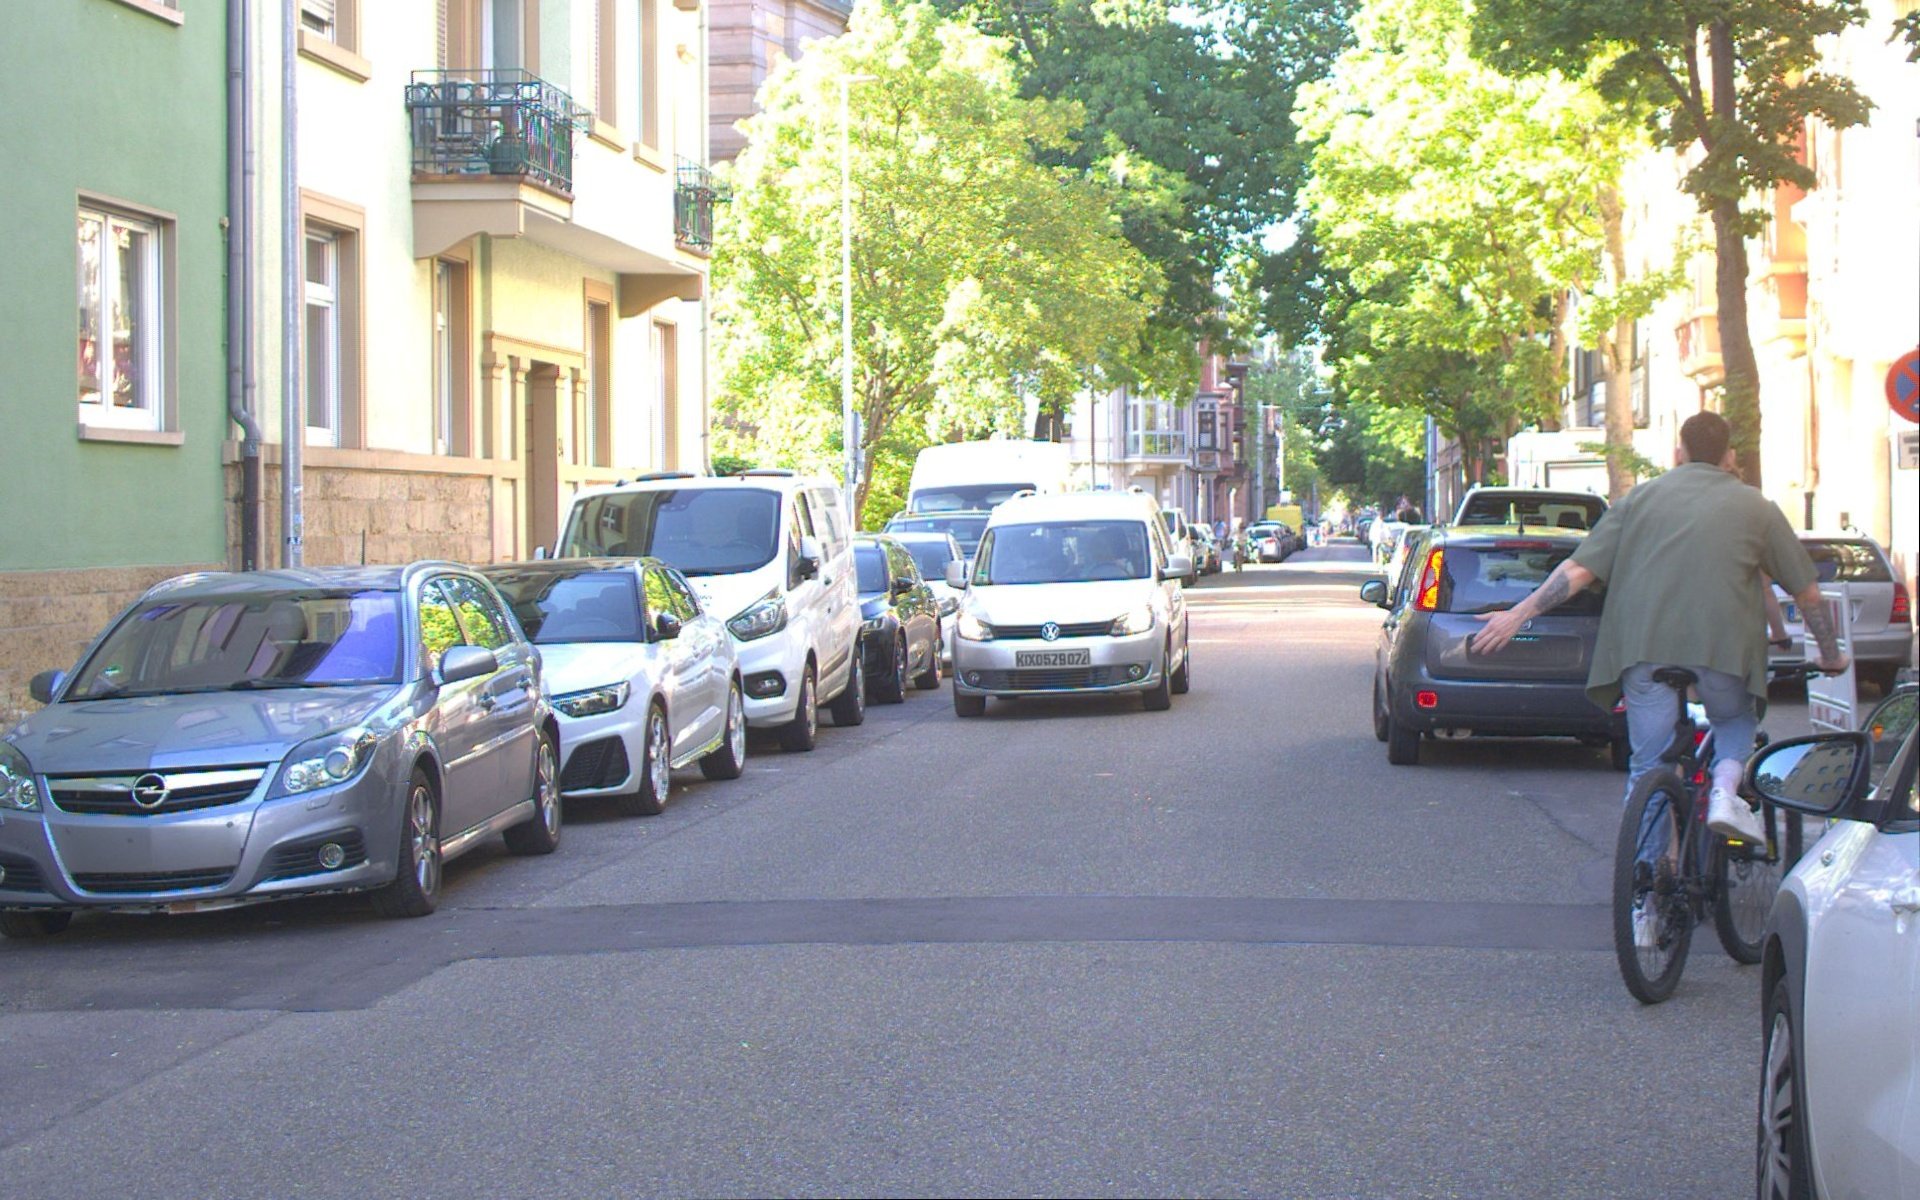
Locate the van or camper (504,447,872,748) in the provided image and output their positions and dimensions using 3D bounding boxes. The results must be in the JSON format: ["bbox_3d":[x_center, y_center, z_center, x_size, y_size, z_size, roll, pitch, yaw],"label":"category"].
[{"bbox_3d":[-1.905,-0.073,25.696,1.994,2.007,4.911,-1,1,4],"label":"van or camper"}]

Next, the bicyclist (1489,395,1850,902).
[{"bbox_3d":[2.308,0.167,11.157,0.883,1.556,0.866,-1,-2,33],"label":"bicyclist"}]

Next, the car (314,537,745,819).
[{"bbox_3d":[-2.393,0.384,19.998,1.687,1.448,3.710,-1,1,6],"label":"car"}]

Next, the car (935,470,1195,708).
[{"bbox_3d":[0.971,-0.128,29.217,1.782,1.854,4.198,-1,1,7],"label":"car"}]

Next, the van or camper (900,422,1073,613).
[{"bbox_3d":[0.430,-1.165,48.318,1.994,2.544,5.022,0,2,5],"label":"van or camper"}]

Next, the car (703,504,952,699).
[{"bbox_3d":[-1.151,-0.043,31.613,1.711,1.678,3.999,0,2,6],"label":"car"}]

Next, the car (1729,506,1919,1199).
[{"bbox_3d":[2.204,0.651,5.161,1.675,1.539,3.403,2,1,7],"label":"car"}]

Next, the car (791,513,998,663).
[{"bbox_3d":[-0.640,-0.172,36.704,1.711,1.499,3.999,0,2,6],"label":"car"}]

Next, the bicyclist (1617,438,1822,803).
[{"bbox_3d":[2.987,0.102,13.482,0.624,1.376,0.867,-2,-3,23],"label":"bicyclist"}]

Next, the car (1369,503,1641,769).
[{"bbox_3d":[3.532,0.166,22.517,1.557,1.527,3.486,3,2,8],"label":"car"}]

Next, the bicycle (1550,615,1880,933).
[{"bbox_3d":[3.042,0.650,13.665,0.840,1.145,2.230,0,-1,24],"label":"bicycle"}]

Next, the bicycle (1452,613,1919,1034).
[{"bbox_3d":[2.500,0.670,11.357,0.840,1.145,2.229,5,4,32],"label":"bicycle"}]

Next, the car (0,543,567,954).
[{"bbox_3d":[-3.069,0.538,14.925,1.979,1.450,4.113,-2,1,3],"label":"car"}]

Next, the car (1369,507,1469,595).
[{"bbox_3d":[8.739,-0.955,65.680,1.687,1.599,4.000,-1,1,5],"label":"car"}]

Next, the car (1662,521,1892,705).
[{"bbox_3d":[7.012,0.067,29.744,1.557,1.404,3.380,3,2,8],"label":"car"}]
